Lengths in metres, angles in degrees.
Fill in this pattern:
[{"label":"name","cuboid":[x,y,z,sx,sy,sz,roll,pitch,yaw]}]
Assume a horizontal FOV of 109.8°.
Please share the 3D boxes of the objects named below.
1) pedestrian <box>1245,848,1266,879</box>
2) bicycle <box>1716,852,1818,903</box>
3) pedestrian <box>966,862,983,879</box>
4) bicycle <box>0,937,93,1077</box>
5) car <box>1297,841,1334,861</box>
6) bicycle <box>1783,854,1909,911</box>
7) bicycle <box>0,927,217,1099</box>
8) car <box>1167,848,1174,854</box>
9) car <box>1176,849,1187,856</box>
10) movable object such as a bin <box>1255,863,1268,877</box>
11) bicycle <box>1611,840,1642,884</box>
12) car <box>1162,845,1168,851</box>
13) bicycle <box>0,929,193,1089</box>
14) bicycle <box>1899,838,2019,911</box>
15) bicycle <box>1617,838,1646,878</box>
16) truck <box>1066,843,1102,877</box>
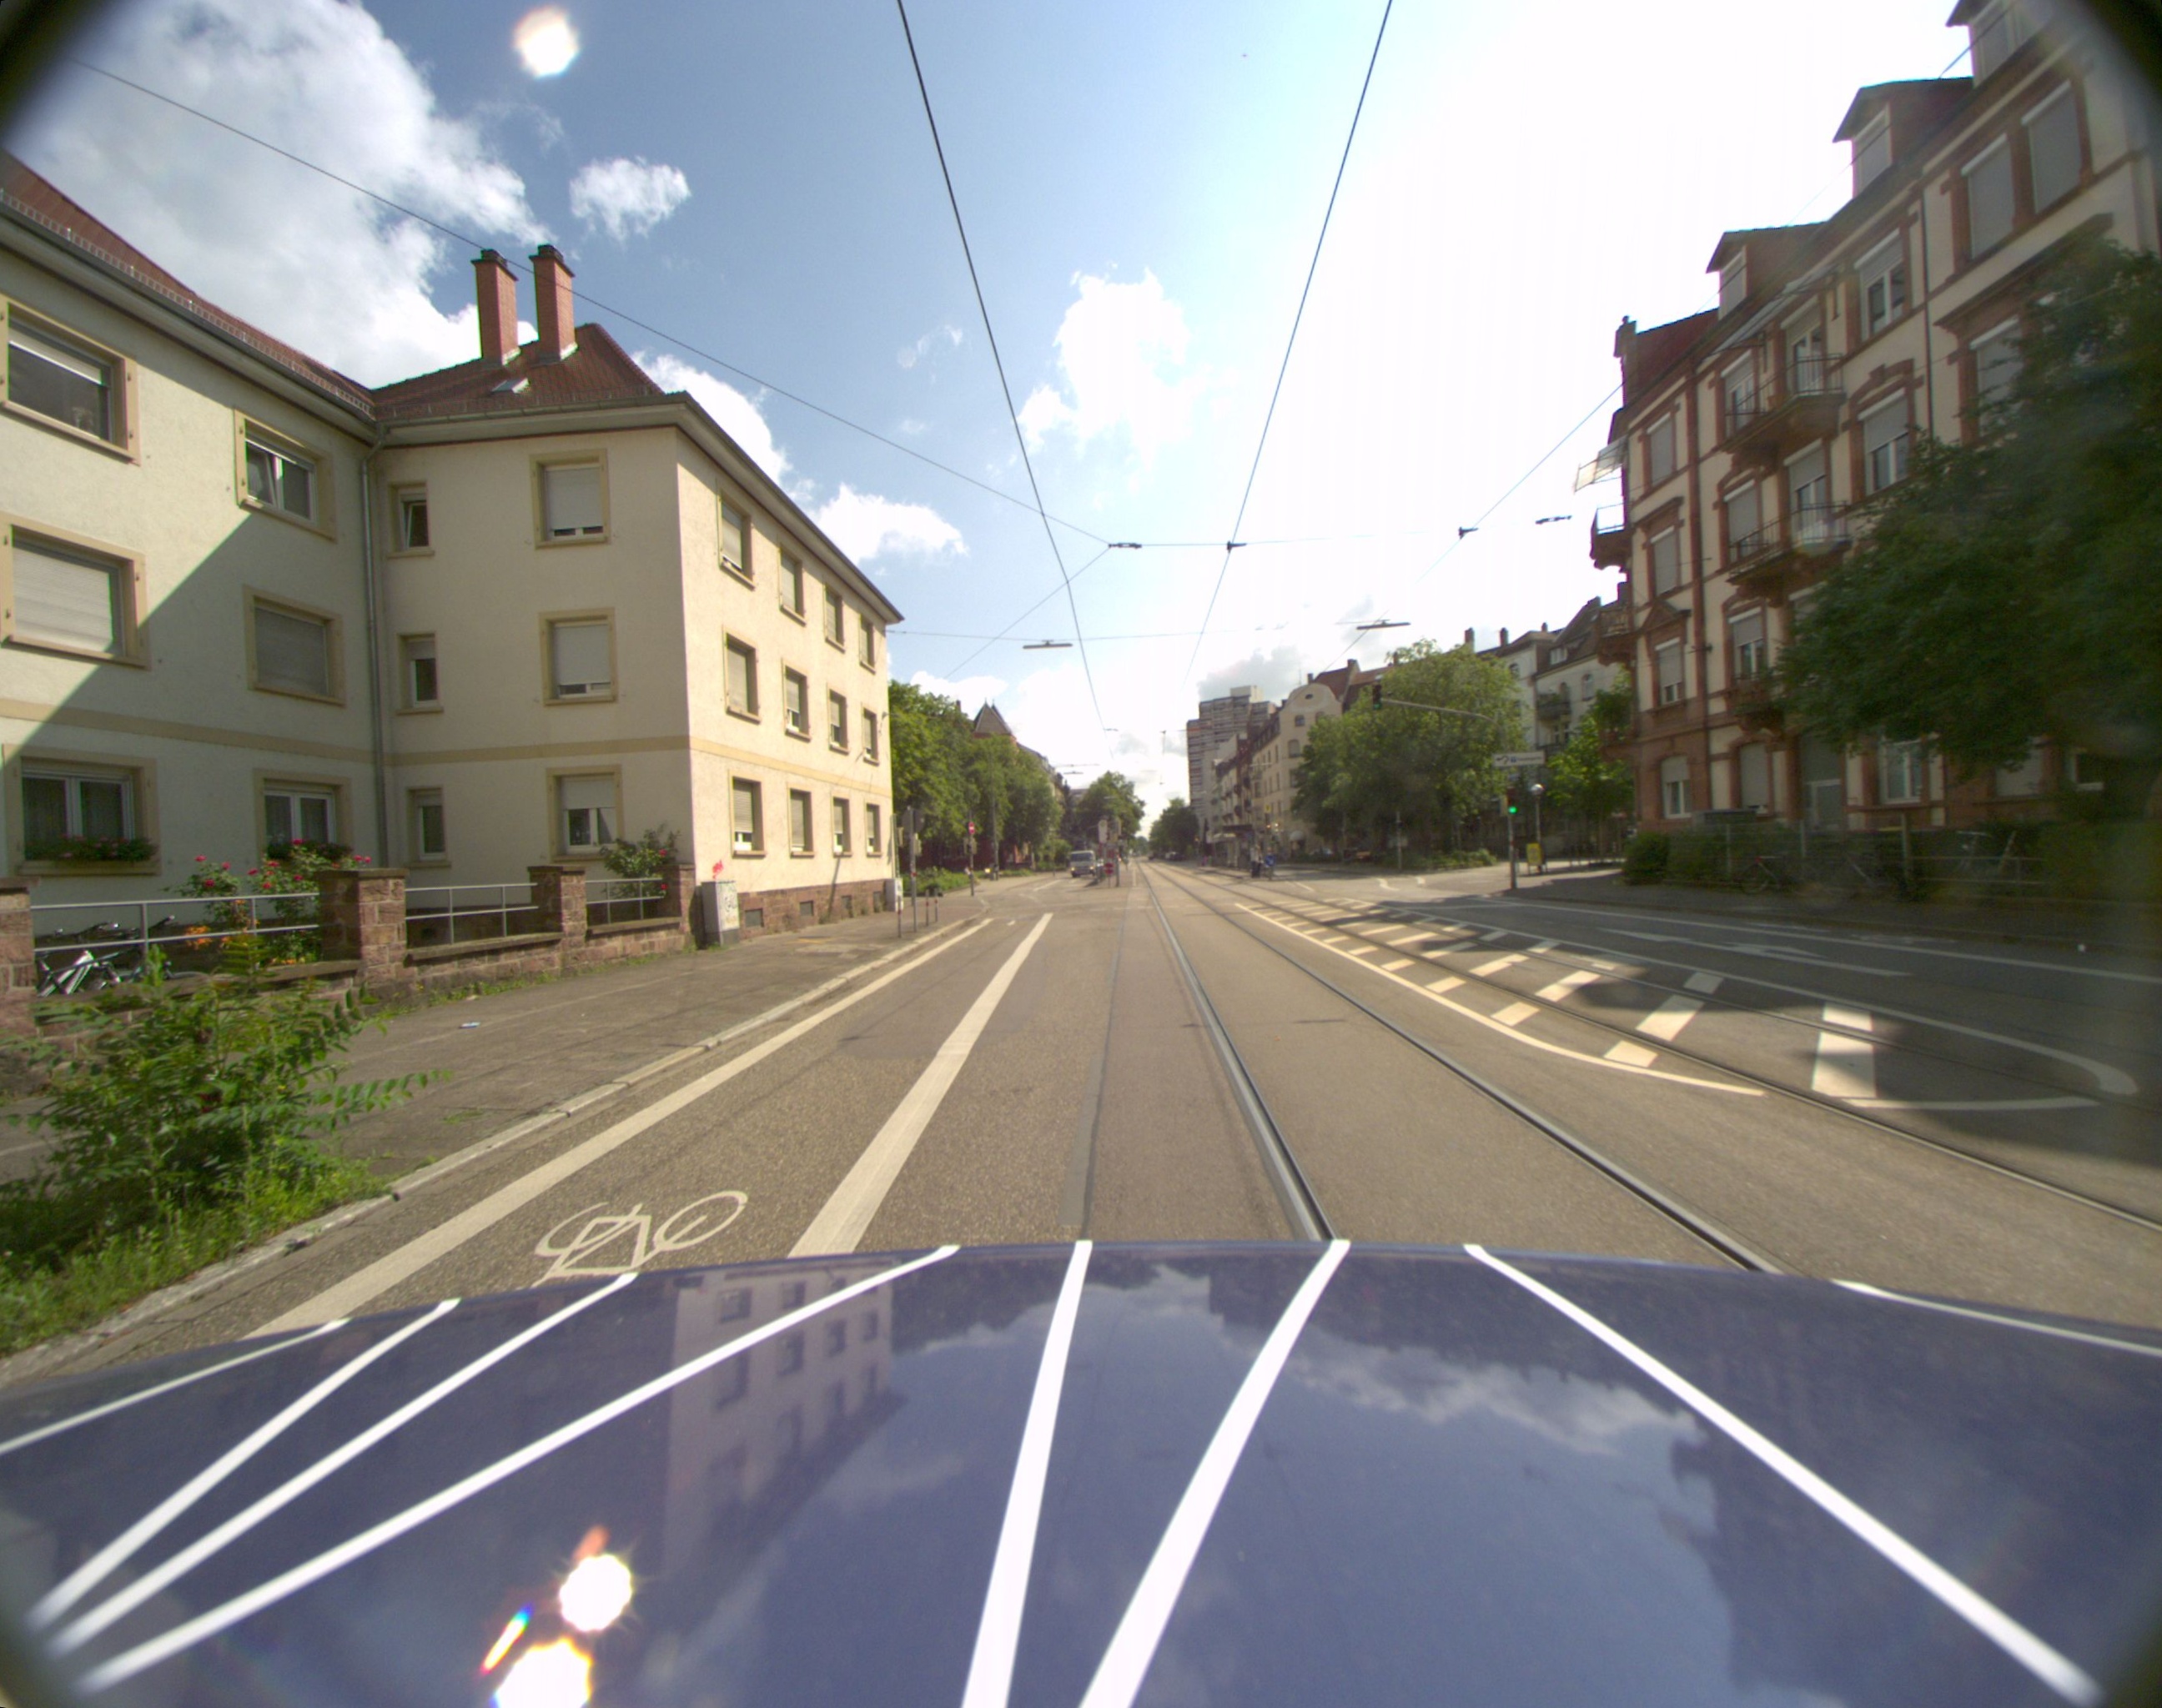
[{"label":"pedestrian","cuboid":[8.944,0.471,39.049,0.782,1.565,0.693,-3,0,-10]},{"label":"bicycle","cuboid":[13.854,0.447,15.420,0.560,0.927,1.826,-3,0,7]},{"label":"pedestrian","cuboid":[-7.763,1.215,55.627,1.160,1.195,0.906,1,0,-4]},{"label":"bicycle","cuboid":[-9.989,1.417,6.707,0.506,1.193,1.491,-3,0,1]},{"label":"car","cuboid":[24.594,-0.333,79.516,3.420,1.841,1.615,-5,1,23]},{"label":"bicycle","cuboid":[13.620,0.475,13.610,0.560,0.927,1.826,-3,0,7]},{"label":"bicycle","cuboid":[-8.558,1.300,6.505,0.506,1.193,1.491,-3,0,3]},{"label":"car","cuboid":[25.025,-0.837,212.332,1.840,1.482,3.893,-3,0,4]},{"label":"car","cuboid":[20.630,-0.324,156.461,1.840,1.482,3.893,-3,0,4]},{"label":"movable object such as a bin","cuboid":[9.457,0.820,39.798,0.512,0.713,0.457,-3,0,-10]},{"label":"bicycle","cuboid":[16.462,0.230,22.903,0.481,1.217,1.958,-2,1,43]},{"label":"car","cuboid":[28.015,-2.037,254.443,1.840,1.799,3.893,-3,0,4]},{"label":"bicycle","cuboid":[-9.204,1.355,6.876,0.506,1.193,1.491,-3,0,1]},{"label":"bicycle","cuboid":[14.431,0.334,12.508,1.308,1.124,0.497,-3,1,3]},{"label":"bicycle","cuboid":[17.871,0.110,24.658,0.481,1.217,1.958,-2,1,43]},{"label":"truck","cuboid":[0.314,0.505,65.707,2.531,2.722,6.517,-3,0,5]}]
